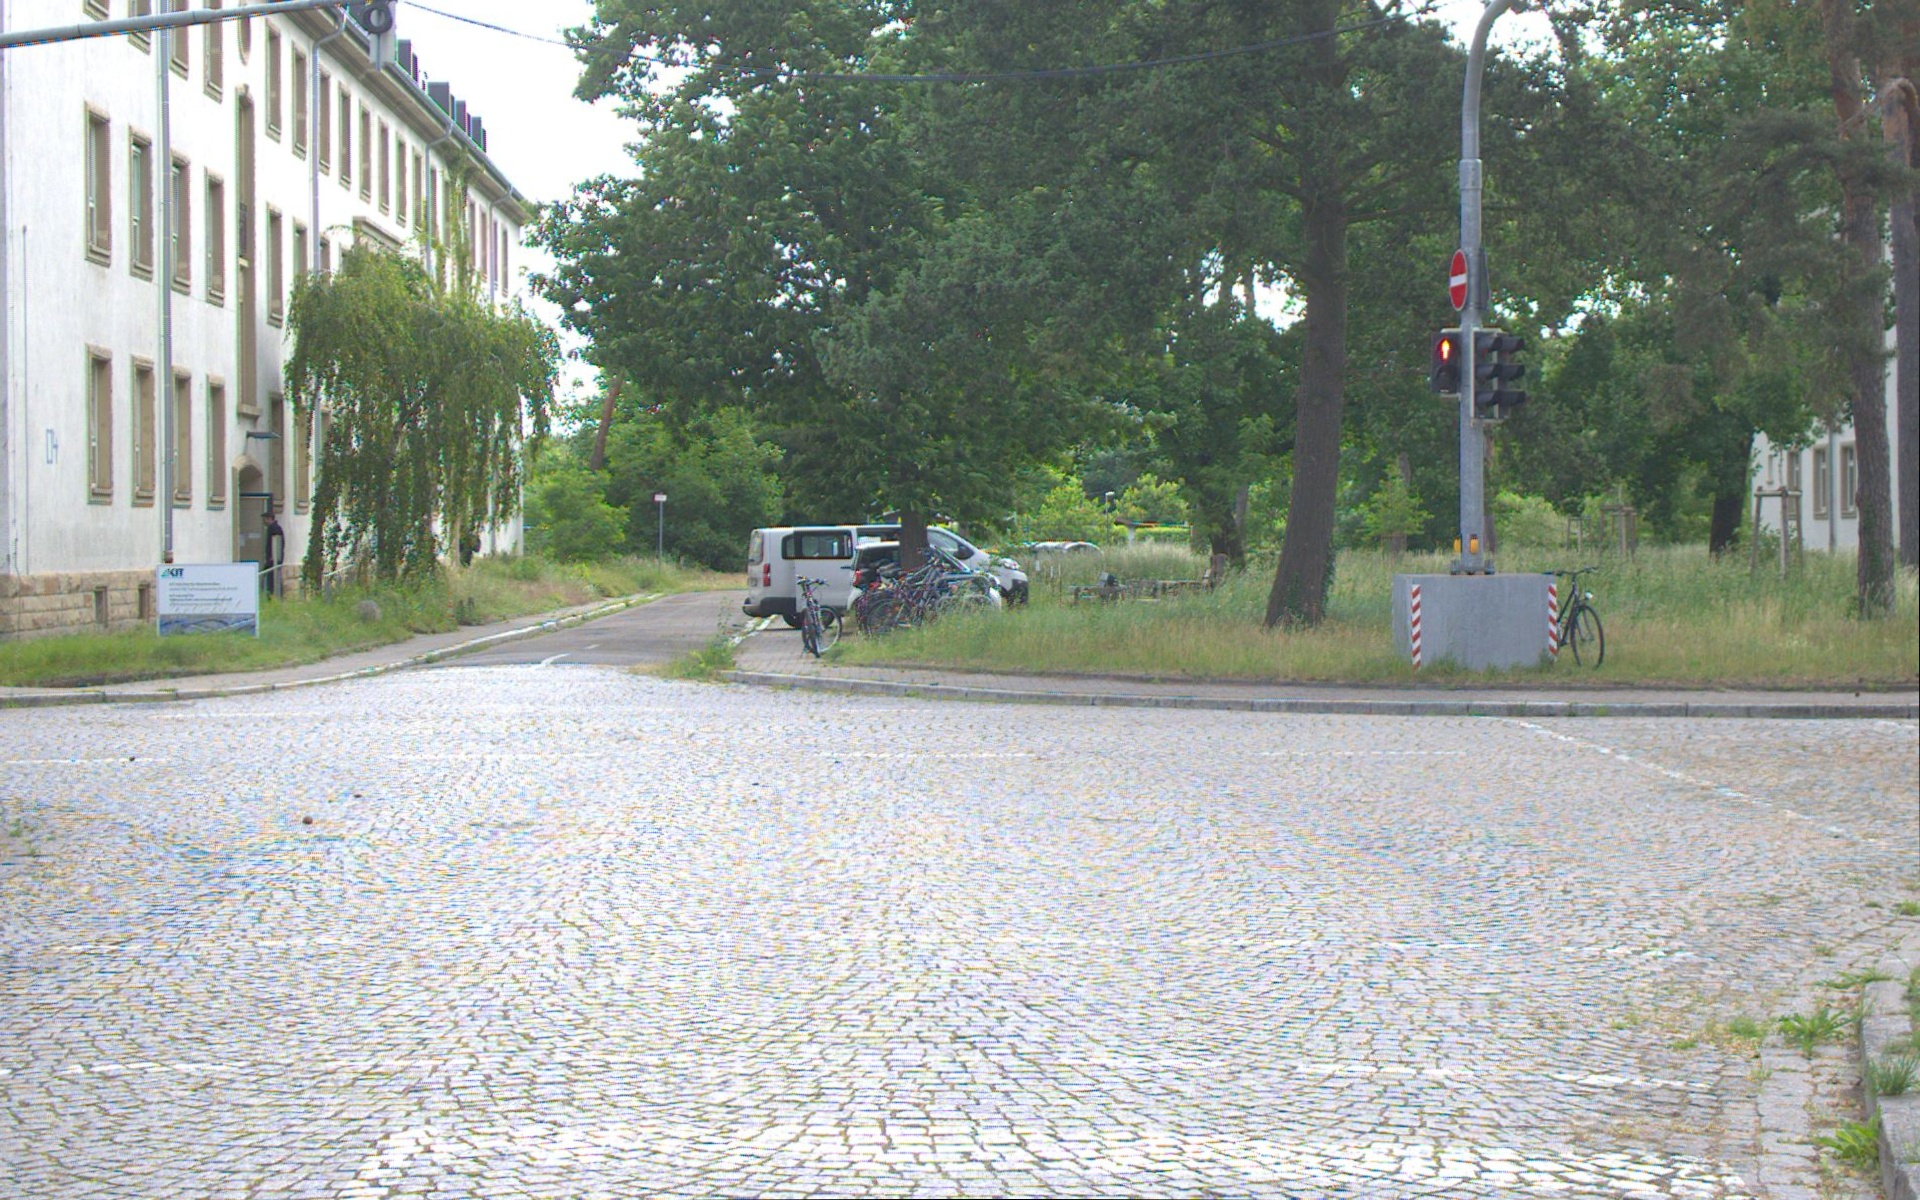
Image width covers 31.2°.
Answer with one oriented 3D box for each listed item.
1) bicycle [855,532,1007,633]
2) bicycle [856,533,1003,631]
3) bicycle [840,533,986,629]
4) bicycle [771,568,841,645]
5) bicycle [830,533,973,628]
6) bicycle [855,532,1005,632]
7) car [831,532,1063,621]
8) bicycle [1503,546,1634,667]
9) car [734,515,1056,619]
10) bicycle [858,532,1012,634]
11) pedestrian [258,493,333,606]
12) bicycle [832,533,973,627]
[{"bbox_3d":[-0.398,-0.246,47.102,2.070,1.373,0.620,0,1,0],"label":"bicycle"},{"bbox_3d":[-0.428,-0.262,48.524,2.070,1.373,0.620,0,1,0],"label":"bicycle"},{"bbox_3d":[-0.674,-0.280,49.319,2.070,1.373,0.620,0,1,0],"label":"bicycle"},{"bbox_3d":[-1.990,0.070,44.619,0.618,0.960,2.076,0,1,6],"label":"bicycle"},{"bbox_3d":[-0.844,-0.292,50.055,2.070,1.373,0.620,0,1,0],"label":"bicycle"},{"bbox_3d":[-0.416,-0.253,47.727,2.070,1.373,0.620,0,1,0],"label":"bicycle"},{"bbox_3d":[-0.261,-0.429,60.956,3.931,1.539,2.000,0,1,-6],"label":"car"},{"bbox_3d":[6.047,0.045,34.243,0.908,1.173,1.874,0,1,-2],"label":"bicycle"},{"bbox_3d":[-1.237,-0.636,64.311,5.690,1.904,2.231,0,1,-13],"label":"car"},{"bbox_3d":[-0.337,-0.236,46.433,2.070,1.373,0.620,0,1,0],"label":"bicycle"},{"bbox_3d":[-11.928,-0.907,61.779,1.087,2.007,1.021,0,1,4],"label":"pedestrian"},{"bbox_3d":[-0.848,-0.300,50.803,2.070,1.373,0.620,0,1,0],"label":"bicycle"}]
